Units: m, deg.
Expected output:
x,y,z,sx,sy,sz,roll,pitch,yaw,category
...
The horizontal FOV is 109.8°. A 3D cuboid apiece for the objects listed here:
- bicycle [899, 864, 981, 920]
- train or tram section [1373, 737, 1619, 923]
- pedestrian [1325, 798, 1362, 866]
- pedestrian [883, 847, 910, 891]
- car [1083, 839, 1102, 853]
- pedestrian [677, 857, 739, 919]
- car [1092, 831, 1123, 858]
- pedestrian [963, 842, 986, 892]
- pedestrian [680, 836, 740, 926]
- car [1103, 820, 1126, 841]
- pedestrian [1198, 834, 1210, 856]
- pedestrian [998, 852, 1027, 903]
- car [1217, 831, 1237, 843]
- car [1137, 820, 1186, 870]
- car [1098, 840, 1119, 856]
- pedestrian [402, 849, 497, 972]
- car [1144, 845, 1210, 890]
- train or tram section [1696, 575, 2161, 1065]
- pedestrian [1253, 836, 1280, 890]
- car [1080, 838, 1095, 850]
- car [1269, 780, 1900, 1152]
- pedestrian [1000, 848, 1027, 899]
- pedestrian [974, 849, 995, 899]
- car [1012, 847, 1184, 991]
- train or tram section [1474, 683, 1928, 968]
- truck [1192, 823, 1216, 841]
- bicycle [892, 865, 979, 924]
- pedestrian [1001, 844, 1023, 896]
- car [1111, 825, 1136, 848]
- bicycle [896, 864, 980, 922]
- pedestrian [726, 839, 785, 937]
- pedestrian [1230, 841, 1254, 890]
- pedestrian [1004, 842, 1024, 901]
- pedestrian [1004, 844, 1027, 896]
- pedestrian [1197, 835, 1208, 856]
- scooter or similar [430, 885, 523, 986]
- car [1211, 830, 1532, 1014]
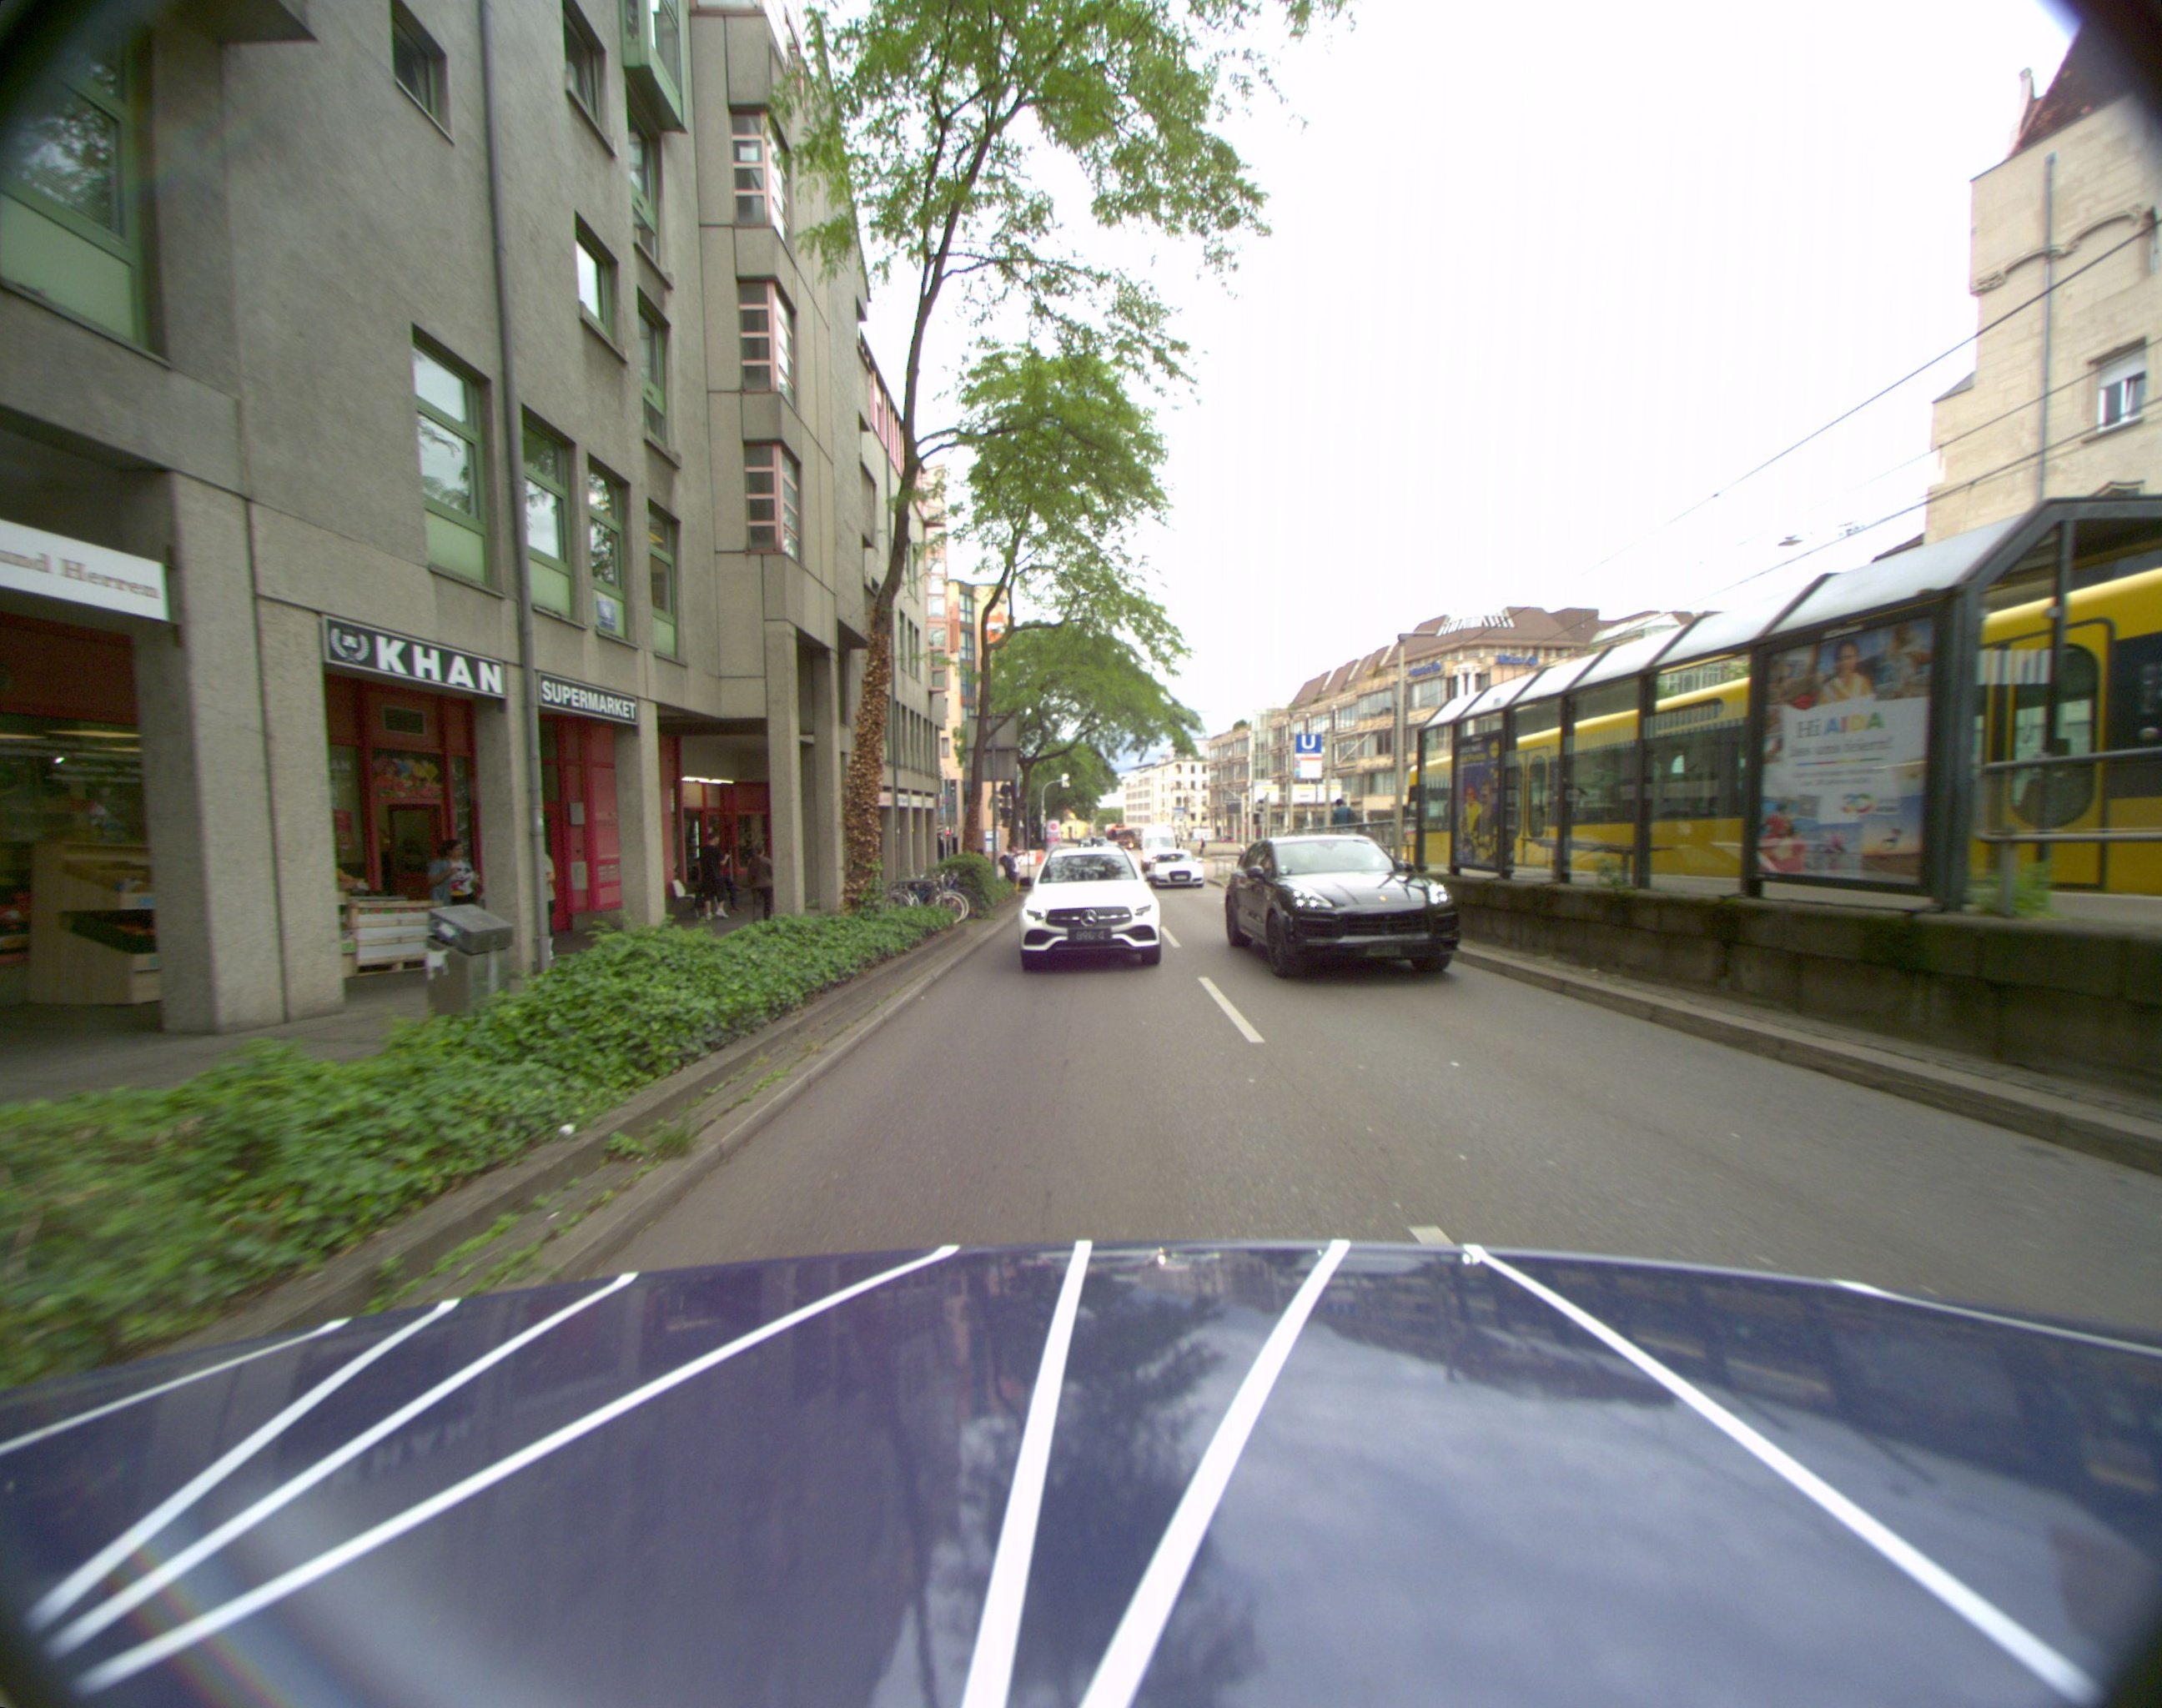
x,y,z,sx,sy,sz,roll,pitch,yaw,category
-3.052,0.813,16.523,1.713,1.177,0.448,1,2,-6,bicycle
9.507,-0.541,18.260,2.842,3.658,5.751,-2,1,2,train or tram section
6.868,-0.579,19.905,0.719,1.721,0.670,-2,3,3,pedestrian
-7.525,0.609,30.945,0.857,1.703,1.124,-4,1,-21,pedestrian
1.321,-0.928,87.816,1.949,1.522,3.998,-2,2,-1,car
-8.396,0.751,17.143,1.059,1.356,0.756,1,1,-5,pedestrian
2.327,-0.863,67.101,2.503,2.145,5.726,-2,2,2,car
-3.896,0.479,27.903,0.723,1.792,0.834,1,0,-3,pedestrian
-7.635,0.545,15.656,0.834,1.792,0.723,1,0,1,pedestrian
4.702,-3.253,106.145,2.504,2.793,5.724,-2,2,-4,car
9.754,-0.724,60.175,0.793,1.712,0.772,-1,2,1,pedestrian
-2.198,0.753,24.492,0.838,1.554,0.764,-2,3,-3,pedestrian
22.722,-2.693,118.121,1.678,1.749,4.778,-2,2,-5,car
4.746,-0.607,45.801,2.281,2.744,5.938,-2,2,1,car
2.807,-0.643,78.319,1.949,1.522,3.998,-2,2,-1,car
-8.594,0.746,10.368,0.617,1.602,0.765,0,0,5,pedestrian
3.732,0.489,30.243,1.950,1.522,3.998,-2,2,-2,car
9.172,-0.309,6.746,2.842,3.501,5.751,-2,1,2,train or tram section
6.006,0.291,24.618,0.687,1.701,0.711,-1,1,1,pedestrian
0.903,-1.409,107.811,1.949,1.522,3.998,-2,2,-1,car
3.401,0.548,6.765,2.370,2.002,5.147,-2,2,3,car
-2.255,0.641,25.438,0.838,1.694,0.764,1,2,-3,pedestrian
-3.086,0.639,24.332,0.618,1.602,0.764,1,0,-9,pedestrian
0.043,0.774,11.289,2.061,1.599,3.923,-2,2,-5,car
9.343,-0.403,12.497,2.842,3.501,5.751,-2,1,2,train or tram section
21.486,-3.941,133.291,2.273,3.059,7.367,1,2,-5,truck
-2.966,0.830,15.603,1.713,1.177,0.448,1,2,-6,bicycle
-2.541,0.577,28.173,0.736,1.864,0.733,-2,3,-3,pedestrian
5.503,-2.335,98.650,2.504,2.793,5.724,-2,2,-4,car
-3.005,0.820,16.072,1.713,1.177,0.448,1,2,-6,bicycle
-6.064,0.617,14.207,0.764,1.773,0.847,0,2,-4,pedestrian
5.761,0.392,27.229,0.637,1.701,0.871,-1,1,1,pedestrian
-2.108,0.531,23.895,0.520,1.779,0.764,-2,3,-3,pedestrian
-2.304,0.545,26.646,0.695,1.767,0.689,3,2,-3,pedestrian
9.771,-0.694,60.965,0.766,1.712,0.637,-1,2,1,pedestrian
-7.474,0.980,9.439,0.765,1.104,0.856,-1,3,-31,scooter or similar
3.210,0.616,9.867,2.088,1.665,5.351,-2,1,0,car
